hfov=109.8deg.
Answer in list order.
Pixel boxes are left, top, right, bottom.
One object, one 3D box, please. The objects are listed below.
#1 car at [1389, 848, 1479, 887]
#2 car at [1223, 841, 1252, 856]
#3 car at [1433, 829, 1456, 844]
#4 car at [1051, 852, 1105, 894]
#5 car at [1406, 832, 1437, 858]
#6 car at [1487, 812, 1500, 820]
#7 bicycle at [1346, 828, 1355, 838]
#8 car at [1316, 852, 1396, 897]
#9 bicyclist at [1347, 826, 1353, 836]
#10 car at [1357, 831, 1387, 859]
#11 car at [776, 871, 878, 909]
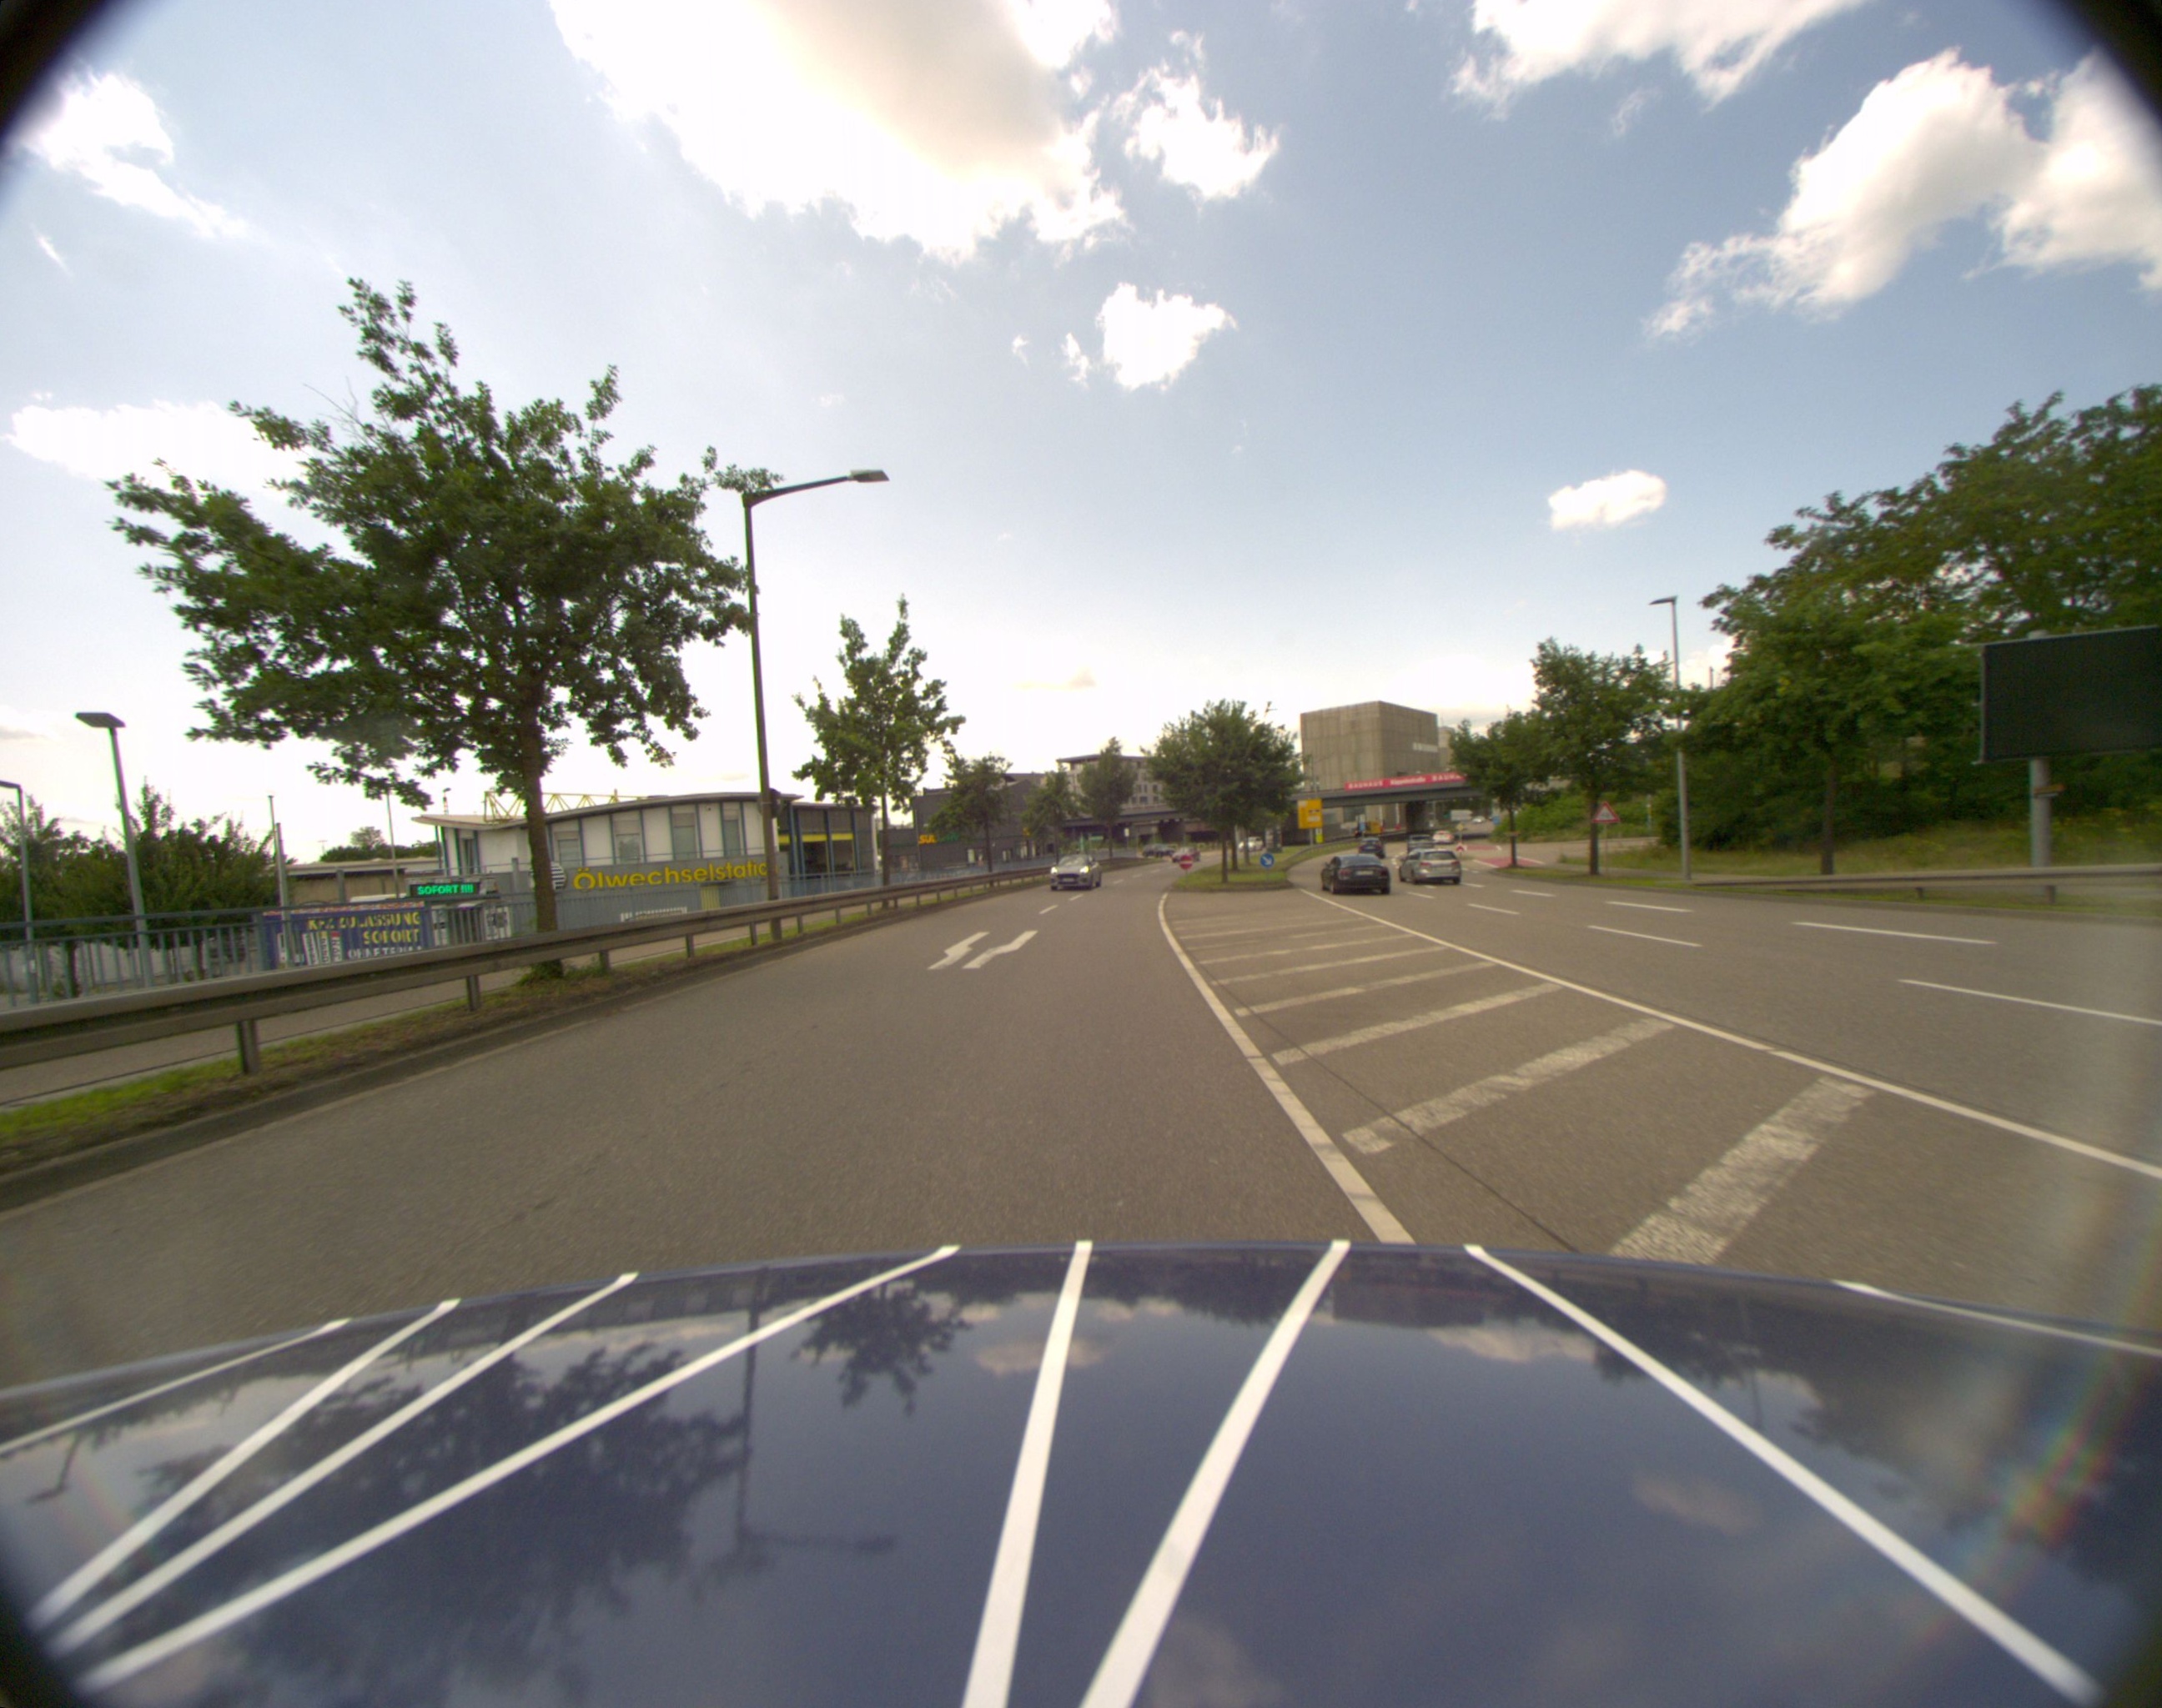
[{"bbox_3d":[14.282,0.531,31.033,1.997,1.388,4.702,-3,0,8],"label":"car"},{"bbox_3d":[18.401,-0.643,89.044,1.710,1.488,3.656,-1,3,41],"label":"car"},{"bbox_3d":[39.816,-1.956,83.307,1.995,1.524,4.337,0,2,23],"label":"car"},{"bbox_3d":[-0.082,0.795,34.138,1.822,1.565,3.955,-5,1,7],"label":"car"},{"bbox_3d":[26.541,-0.732,59.323,1.995,1.851,4.721,-3,1,23],"label":"car"},{"bbox_3d":[90.345,-8.363,166.348,1.779,1.488,3.604,-1,3,41],"label":"car"},{"bbox_3d":[49.666,-3.837,139.839,0.720,1.764,2.537,-2,3,38],"label":"bicycle"},{"bbox_3d":[9.377,0.650,26.276,1.906,1.356,4.579,-1,1,11],"label":"car"},{"bbox_3d":[49.441,-4.154,139.538,0.715,1.759,0.990,-2,3,38],"label":"bicyclist"},{"bbox_3d":[23.387,-0.708,60.936,1.995,2.001,4.825,-3,-1,23],"label":"car"},{"bbox_3d":[-16.558,2.317,49.680,5.812,2.002,2.233,-3,2,12],"label":"car"}]
